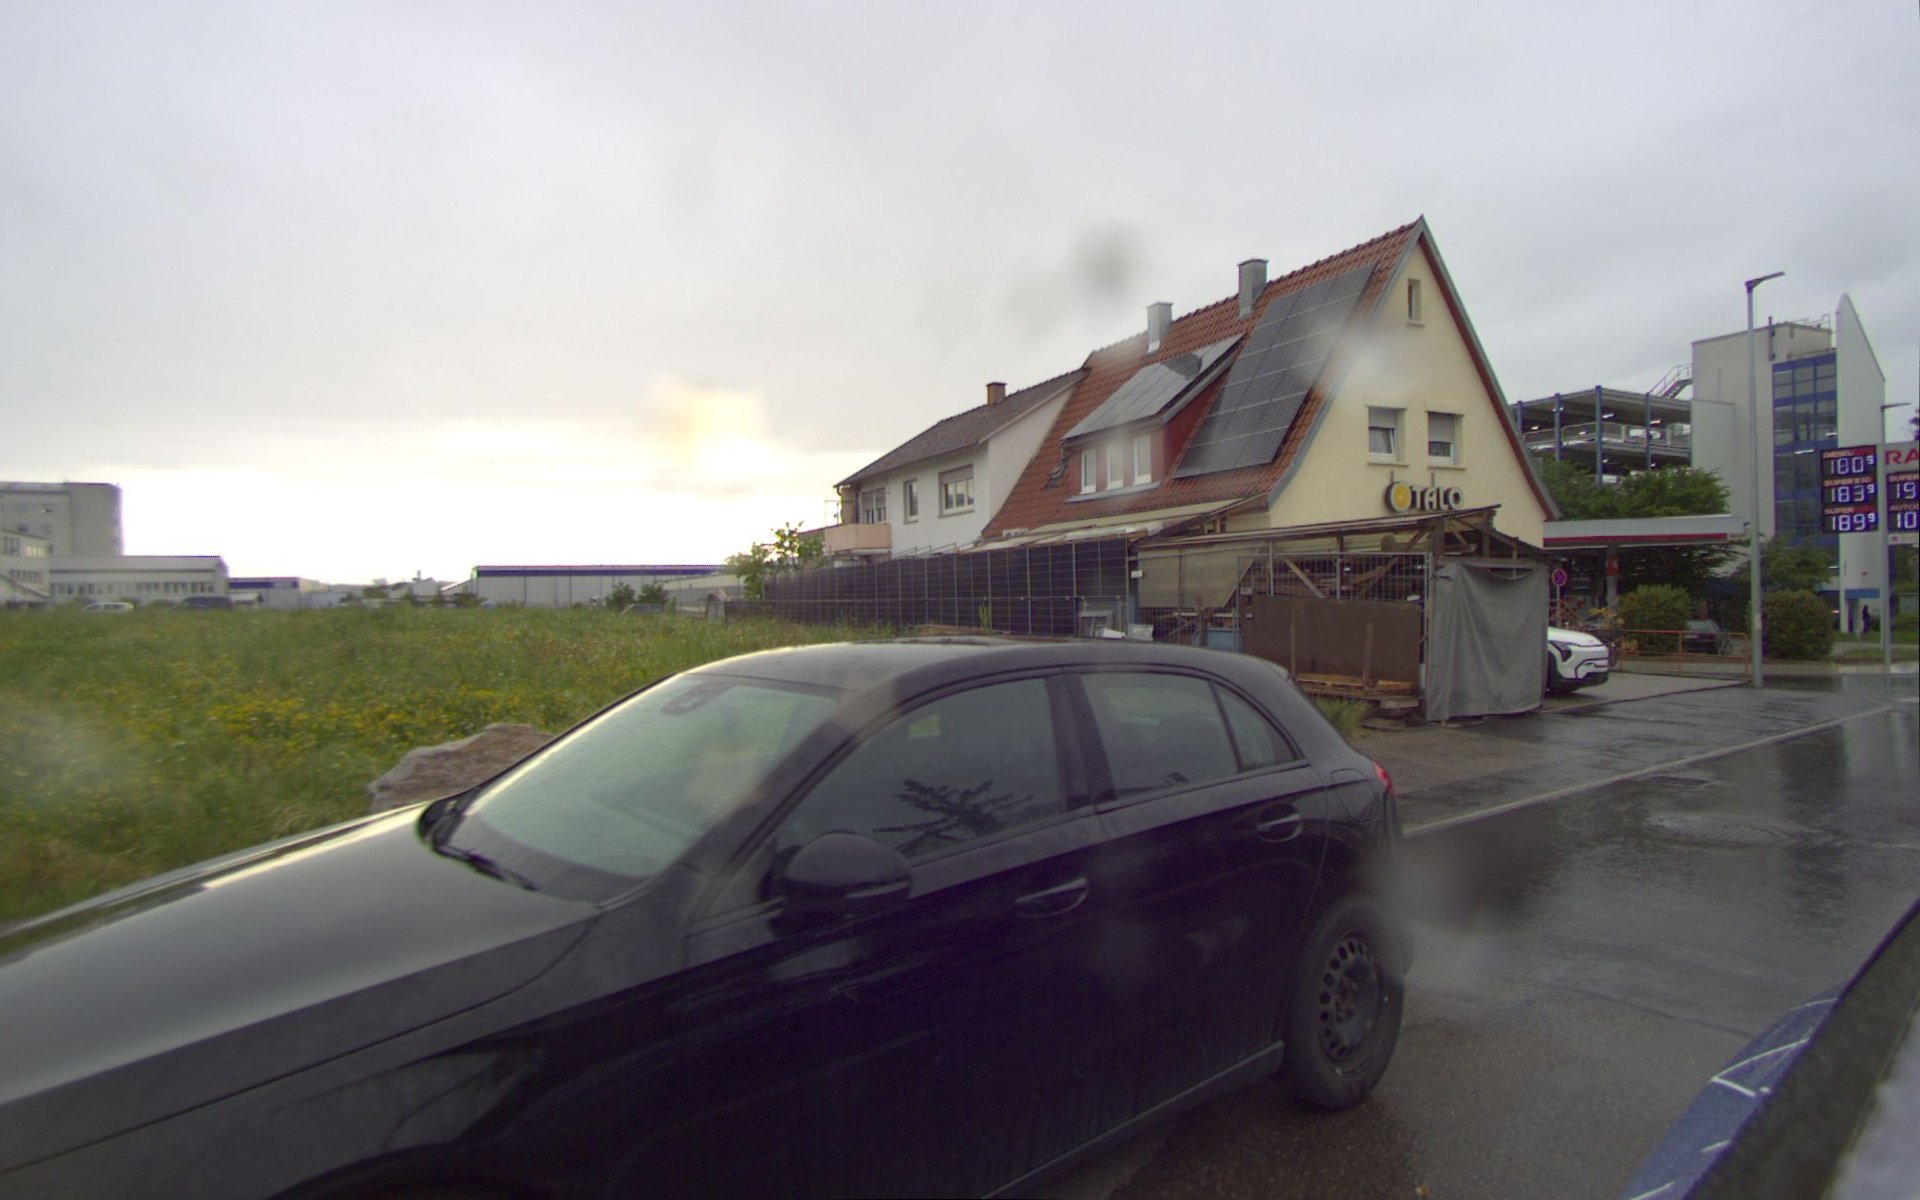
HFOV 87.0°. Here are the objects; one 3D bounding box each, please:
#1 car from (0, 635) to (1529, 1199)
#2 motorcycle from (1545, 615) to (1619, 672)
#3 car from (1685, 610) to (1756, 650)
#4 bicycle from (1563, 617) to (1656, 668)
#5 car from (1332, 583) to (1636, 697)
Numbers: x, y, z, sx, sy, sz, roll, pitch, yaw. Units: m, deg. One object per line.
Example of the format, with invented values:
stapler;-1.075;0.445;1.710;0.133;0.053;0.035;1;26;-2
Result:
car;-0.119;0.845;3.111;4.242;1.353;1.772;0;-1;-39
motorcycle;12.636;0.867;20.540;1.962;1.110;0.489;1;-2;-34
car;27.979;1.064;37.168;1.688;1.357;4.273;-1;-1;42
bicycle;14.527;0.933;22.694;0.479;1.110;1.778;1;-2;-24
car;8.763;0.556;17.230;1.828;1.630;4.226;-1;2;-39
